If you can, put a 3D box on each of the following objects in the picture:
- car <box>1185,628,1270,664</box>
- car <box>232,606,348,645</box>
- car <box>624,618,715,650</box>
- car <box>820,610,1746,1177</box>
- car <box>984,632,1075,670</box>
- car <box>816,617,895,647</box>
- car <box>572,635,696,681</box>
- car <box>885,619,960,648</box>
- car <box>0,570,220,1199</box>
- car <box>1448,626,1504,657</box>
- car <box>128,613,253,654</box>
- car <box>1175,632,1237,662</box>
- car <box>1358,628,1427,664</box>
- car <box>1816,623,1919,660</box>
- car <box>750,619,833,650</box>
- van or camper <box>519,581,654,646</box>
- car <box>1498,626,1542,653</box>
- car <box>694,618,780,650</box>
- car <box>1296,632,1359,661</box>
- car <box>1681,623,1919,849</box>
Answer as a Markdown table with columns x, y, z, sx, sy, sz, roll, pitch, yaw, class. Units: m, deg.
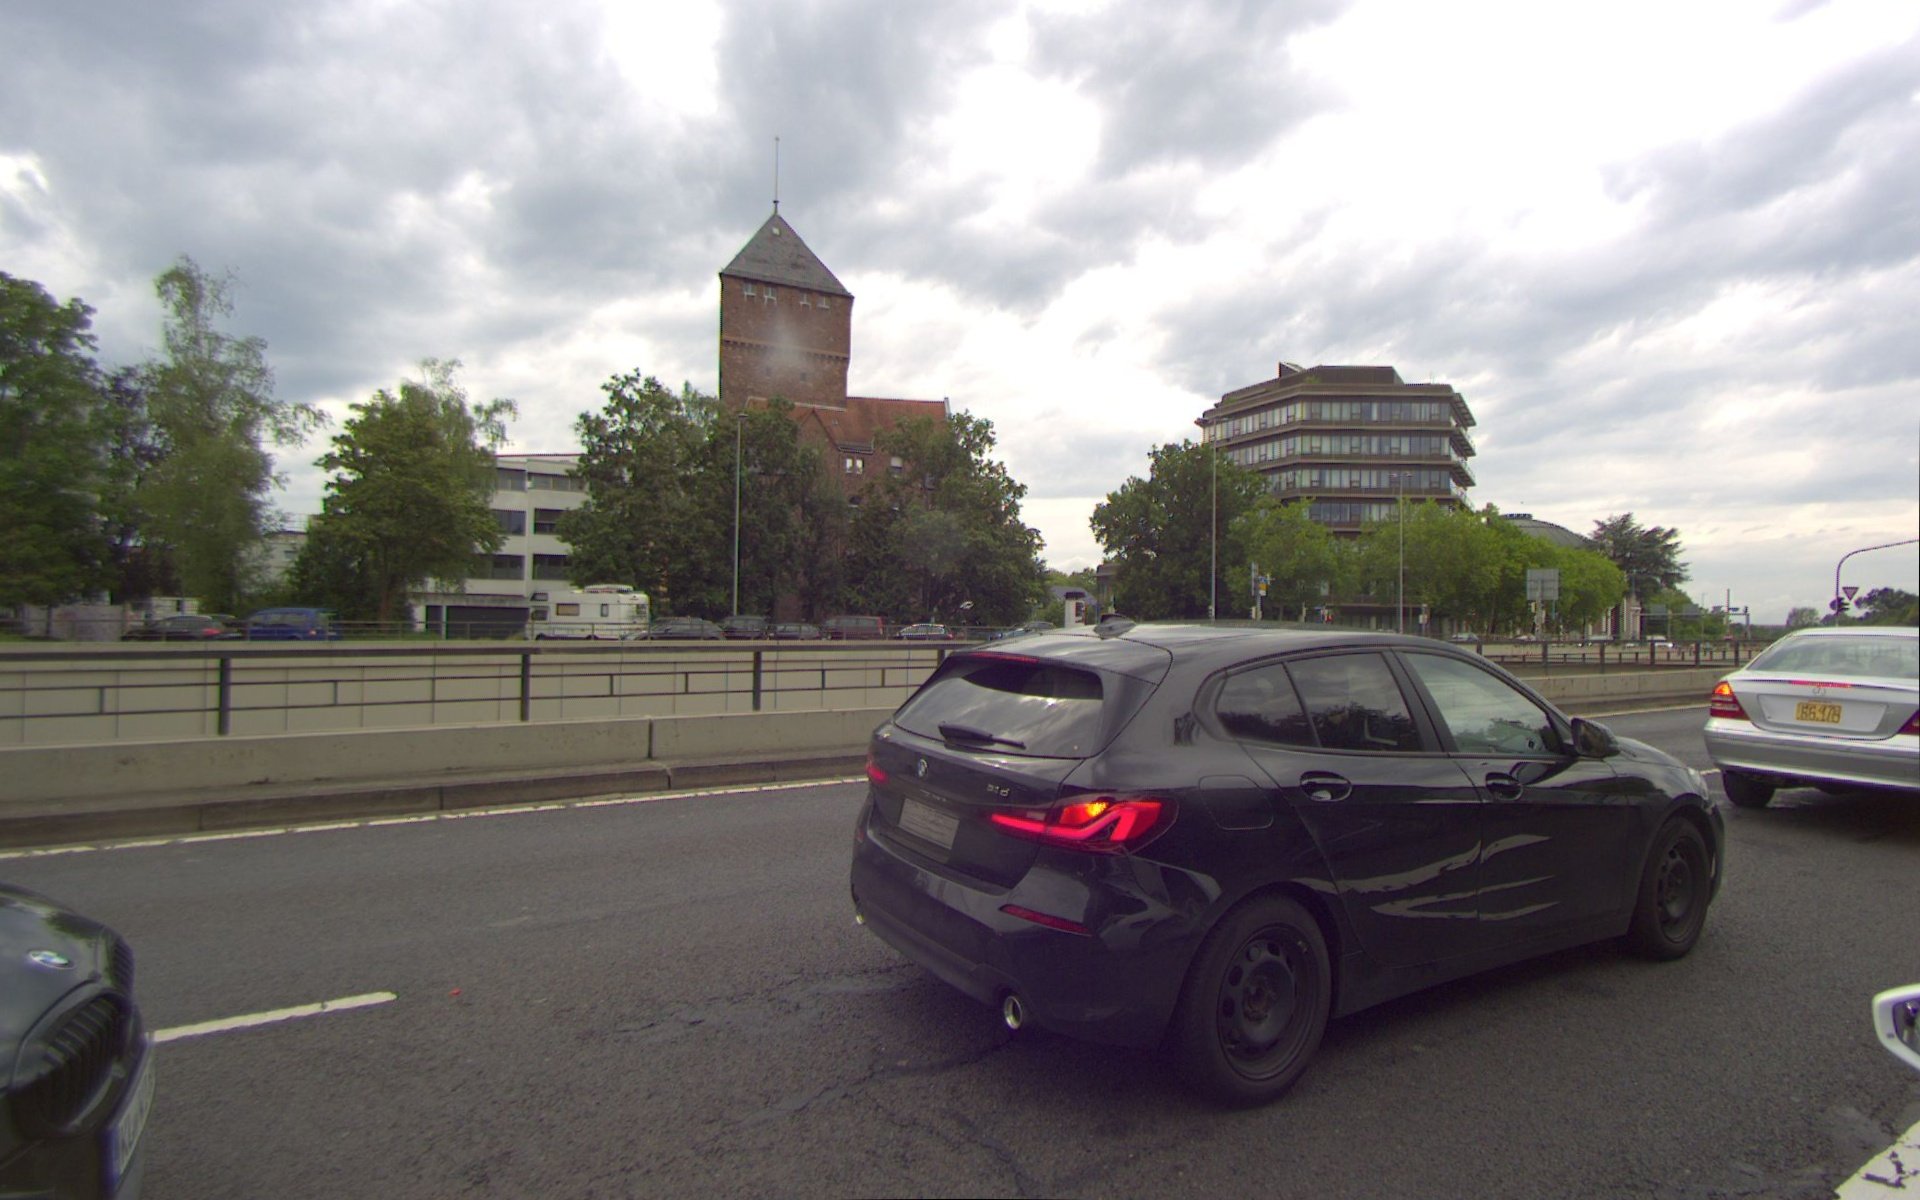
| x | y | z | sx | sy | sz | roll | pitch | yaw | class |
| --- | --- | --- | --- | --- | --- | --- | --- | --- | --- |
| 16.005 | 2.699 | 59.966 | 5.181 | 1.975 | 2.317 | 1 | -1 | -39 | car |
| -27.121 | 1.027 | 40.695 | 3.919 | 1.460 | 1.630 | 1 | 0 | 12 | car |
| -14.114 | 1.635 | 48.892 | 3.919 | 1.460 | 1.630 | 1 | 0 | 12 | car |
| 1.555 | 0.794 | 4.296 | 3.956 | 1.413 | 1.614 | 1 | 0 | -32 | car |
| 3.469 | 2.503 | 49.909 | 4.241 | 1.736 | 1.841 | 1 | -1 | -30 | car |
| -5.620 | 1.698 | 54.207 | 3.919 | 1.460 | 1.630 | 1 | 0 | 12 | car |
| -12.698 | 2.220 | 39.147 | 4.303 | 1.648 | 1.875 | 1 | -1 | -30 | car |
| -2.110 | 1.858 | 56.545 | 3.919 | 1.460 | 1.630 | 1 | 0 | 12 | car |
| -3.462 | 0.689 | 0.858 | 4.412 | 1.445 | 1.739 | 0 | -1 | -32 | car |
| 43.540 | 3.467 | 84.711 | 5.182 | 2.493 | 2.316 | 1 | -1 | -39 | car |
| -29.425 | 1.254 | 38.446 | 3.919 | 1.460 | 1.630 | 1 | 0 | 12 | car |
| 21.590 | 4.112 | 88.124 | 5.122 | 2.493 | 2.343 | 0 | -1 | 17 | car |
| 31.390 | 3.293 | 72.900 | 5.176 | 2.493 | 2.319 | 1 | -1 | -36 | car |
| 54.368 | 2.422 | 59.881 | 1.971 | 2.040 | 4.786 | 1 | -1 | -21 | car |
| -8.795 | 1.779 | 52.565 | 3.919 | 1.460 | 1.630 | 1 | 0 | 12 | car |
| -17.417 | 0.589 | 46.832 | 5.807 | 2.847 | 2.146 | 1 | 0 | 18 | van or camper |
| 54.201 | 3.810 | 97.178 | 5.191 | 2.493 | 2.312 | 1 | -1 | -44 | car |
| -11.253 | 1.712 | 50.731 | 3.919 | 1.460 | 1.630 | 1 | 0 | 12 | car |
| 34.052 | 4.305 | 93.137 | 5.120 | 2.493 | 2.344 | 0 | -1 | 10 | car |
| 7.677 | 0.933 | 8.047 | 4.261 | 1.413 | 1.614 | 1 | 0 | -32 | car |
